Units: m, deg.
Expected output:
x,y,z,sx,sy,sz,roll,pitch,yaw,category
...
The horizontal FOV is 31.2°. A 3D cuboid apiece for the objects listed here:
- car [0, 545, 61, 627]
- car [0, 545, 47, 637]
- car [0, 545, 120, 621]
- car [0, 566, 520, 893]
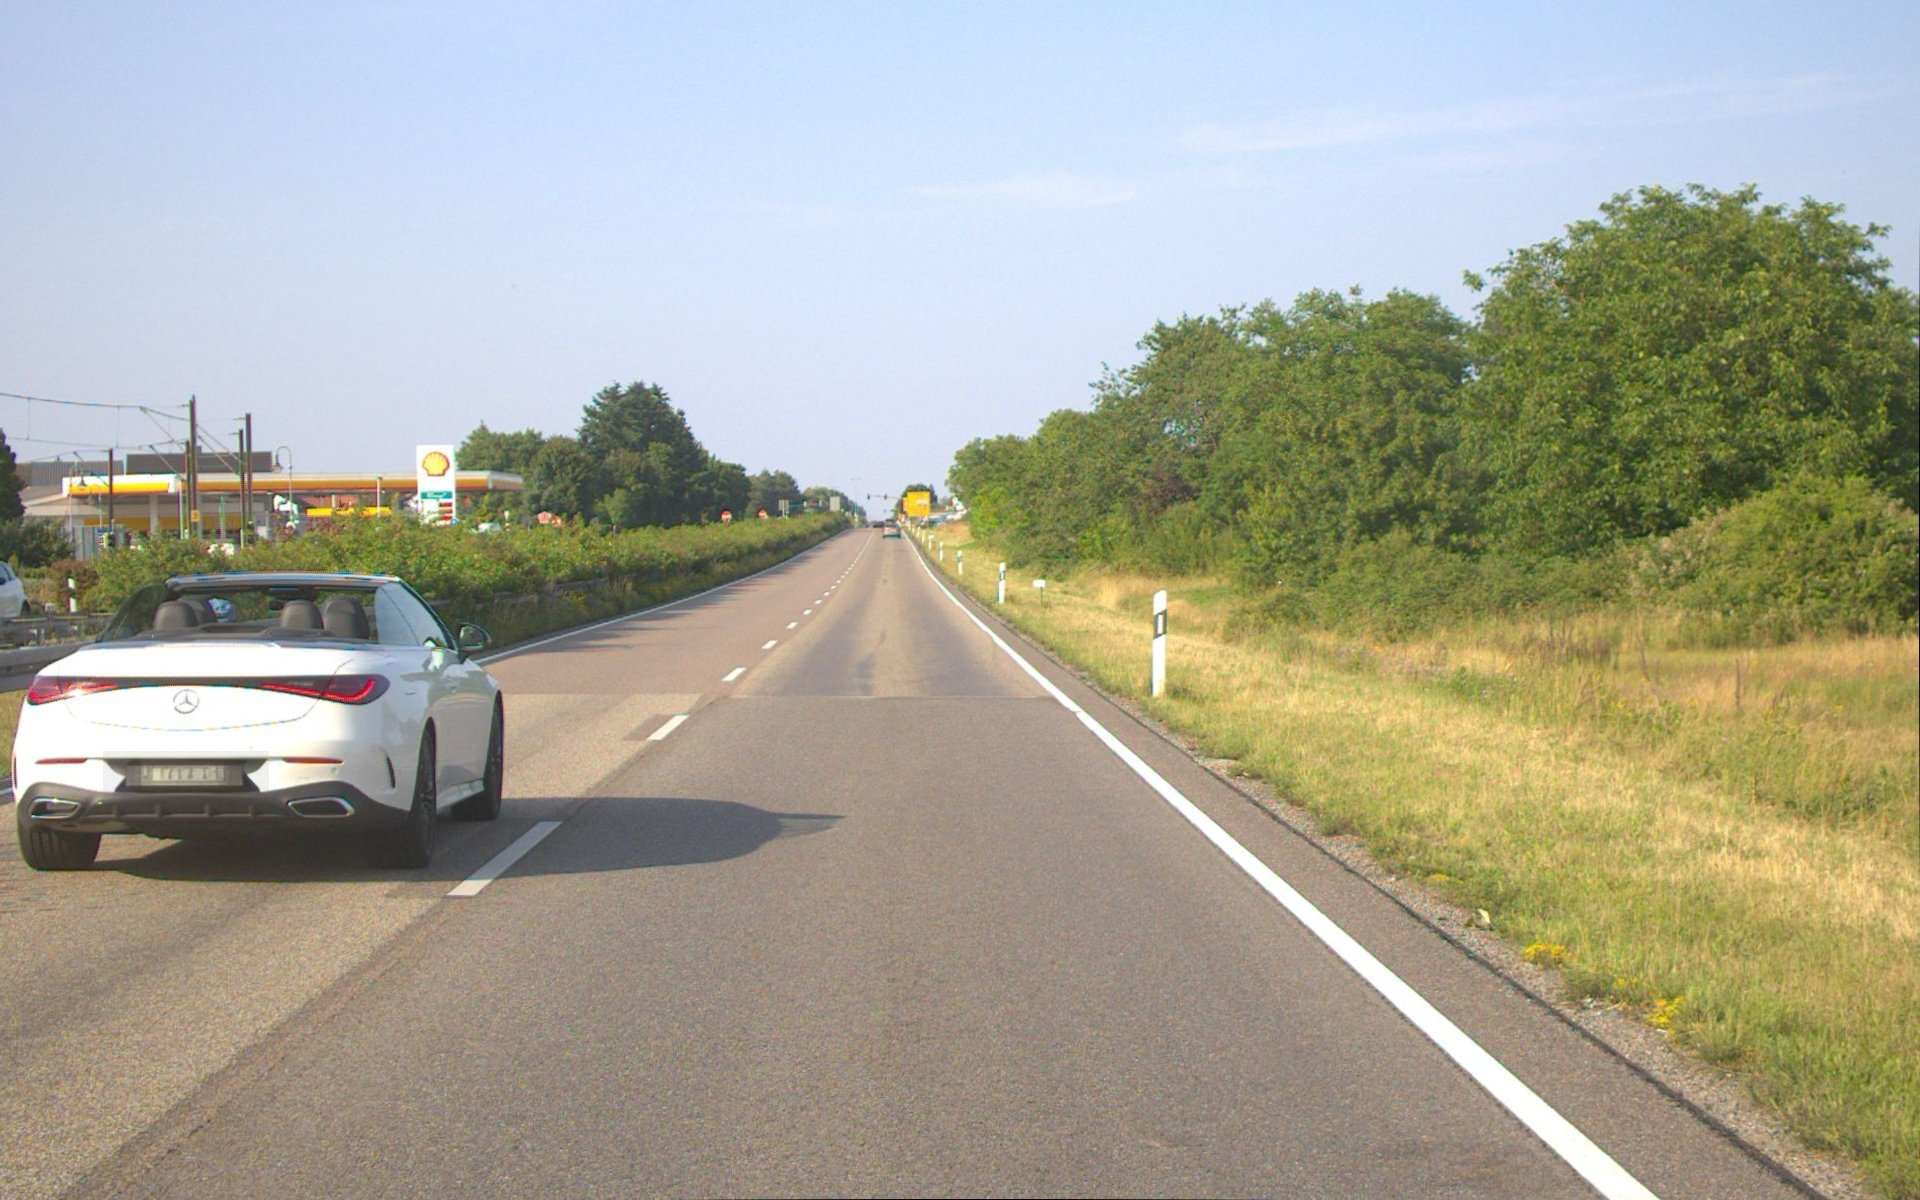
x,y,z,sx,sy,sz,roll,pitch,yaw,category
-21.567,-0.340,76.811,1.993,1.744,4.000,1,1,-1,car
-17.880,-0.188,61.996,1.715,1.606,4.447,1,1,-1,car
-21.630,-0.431,82.559,1.993,1.744,4.000,1,1,-1,car
-3.381,0.532,17.227,1.771,1.333,4.950,1,1,-1,car
